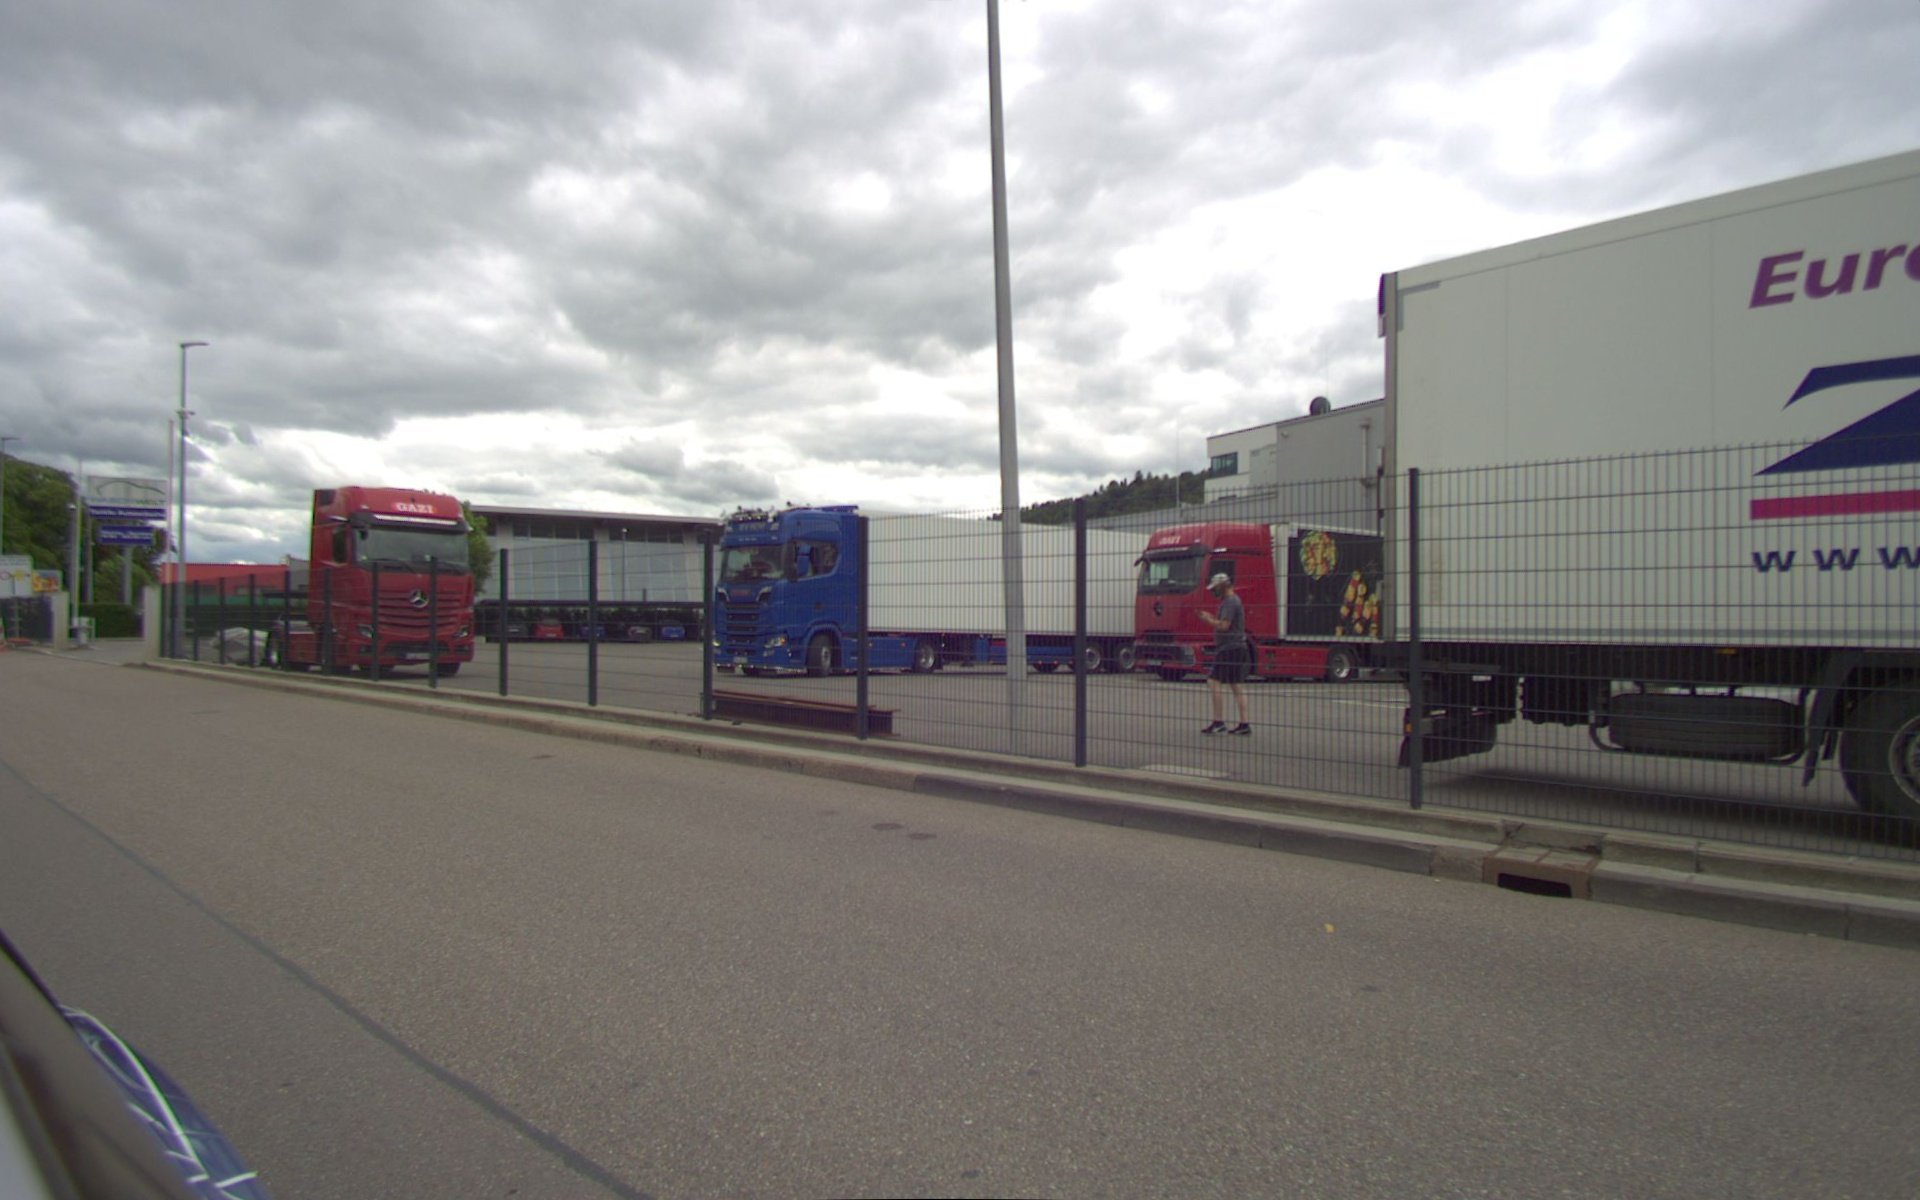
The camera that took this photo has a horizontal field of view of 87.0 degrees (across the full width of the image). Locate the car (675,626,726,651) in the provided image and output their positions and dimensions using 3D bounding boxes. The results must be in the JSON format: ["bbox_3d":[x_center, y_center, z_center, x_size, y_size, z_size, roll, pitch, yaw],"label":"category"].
[{"bbox_3d":[-17.252,2.550,67.168,1.935,1.571,4.258,1,-2,-35],"label":"car"}]

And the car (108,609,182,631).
[{"bbox_3d":[-59.318,1.466,73.703,2.001,1.547,3.942,-1,-2,44],"label":"car"}]

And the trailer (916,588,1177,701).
[{"bbox_3d":[3.676,1.742,40.945,10.807,4.109,2.801,1,-1,-29],"label":"trailer"}]

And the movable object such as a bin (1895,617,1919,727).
[{"bbox_3d":[17.428,1.168,16.380,3.931,1.749,2.163,1,-2,-28],"label":"movable object such as a bin"}]

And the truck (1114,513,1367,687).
[{"bbox_3d":[7.139,0.072,25.699,5.823,3.958,2.811,1,-2,-28],"label":"truck"}]

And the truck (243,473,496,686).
[{"bbox_3d":[-13.356,-0.328,22.635,6.940,4.051,2.890,-1,-2,42],"label":"truck"}]

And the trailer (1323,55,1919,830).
[{"bbox_3d":[8.966,-0.820,4.100,14.022,4.293,3.098,-1,-6,44],"label":"trailer"}]

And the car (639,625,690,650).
[{"bbox_3d":[-19.252,2.417,65.830,1.935,1.571,4.258,1,-2,-35],"label":"car"}]

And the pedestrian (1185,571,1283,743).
[{"bbox_3d":[3.072,0.618,11.358,0.690,1.843,0.824,1,-2,-45],"label":"pedestrian"}]

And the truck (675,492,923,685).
[{"bbox_3d":[-3.698,-0.173,24.374,2.924,4.051,5.550,-1,-2,34],"label":"truck"}]

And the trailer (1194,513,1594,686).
[{"bbox_3d":[12.525,0.112,28.431,12.866,4.139,2.793,1,-2,-28],"label":"trailer"}]

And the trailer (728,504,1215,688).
[{"bbox_3d":[0.832,0.008,27.929,13.778,4.215,3.046,1,-1,-30],"label":"trailer"}]

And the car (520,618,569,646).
[{"bbox_3d":[-25.725,1.961,62.633,1.935,1.660,4.258,1,-2,-35],"label":"car"}]

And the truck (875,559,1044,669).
[{"bbox_3d":[-0.001,0.567,38.905,5.823,3.958,2.811,1,-1,-29],"label":"truck"}]

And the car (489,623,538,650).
[{"bbox_3d":[-26.746,2.156,60.549,1.935,1.503,4.258,1,-2,-35],"label":"car"}]

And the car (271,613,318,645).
[{"bbox_3d":[-36.196,1.561,54.992,2.039,1.682,4.258,1,-2,-35],"label":"car"}]

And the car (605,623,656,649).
[{"bbox_3d":[-20.898,2.284,64.167,1.935,1.571,4.258,1,-2,-35],"label":"car"}]

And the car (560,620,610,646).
[{"bbox_3d":[-23.675,2.053,63.849,1.935,1.571,4.258,1,-2,-35],"label":"car"}]
